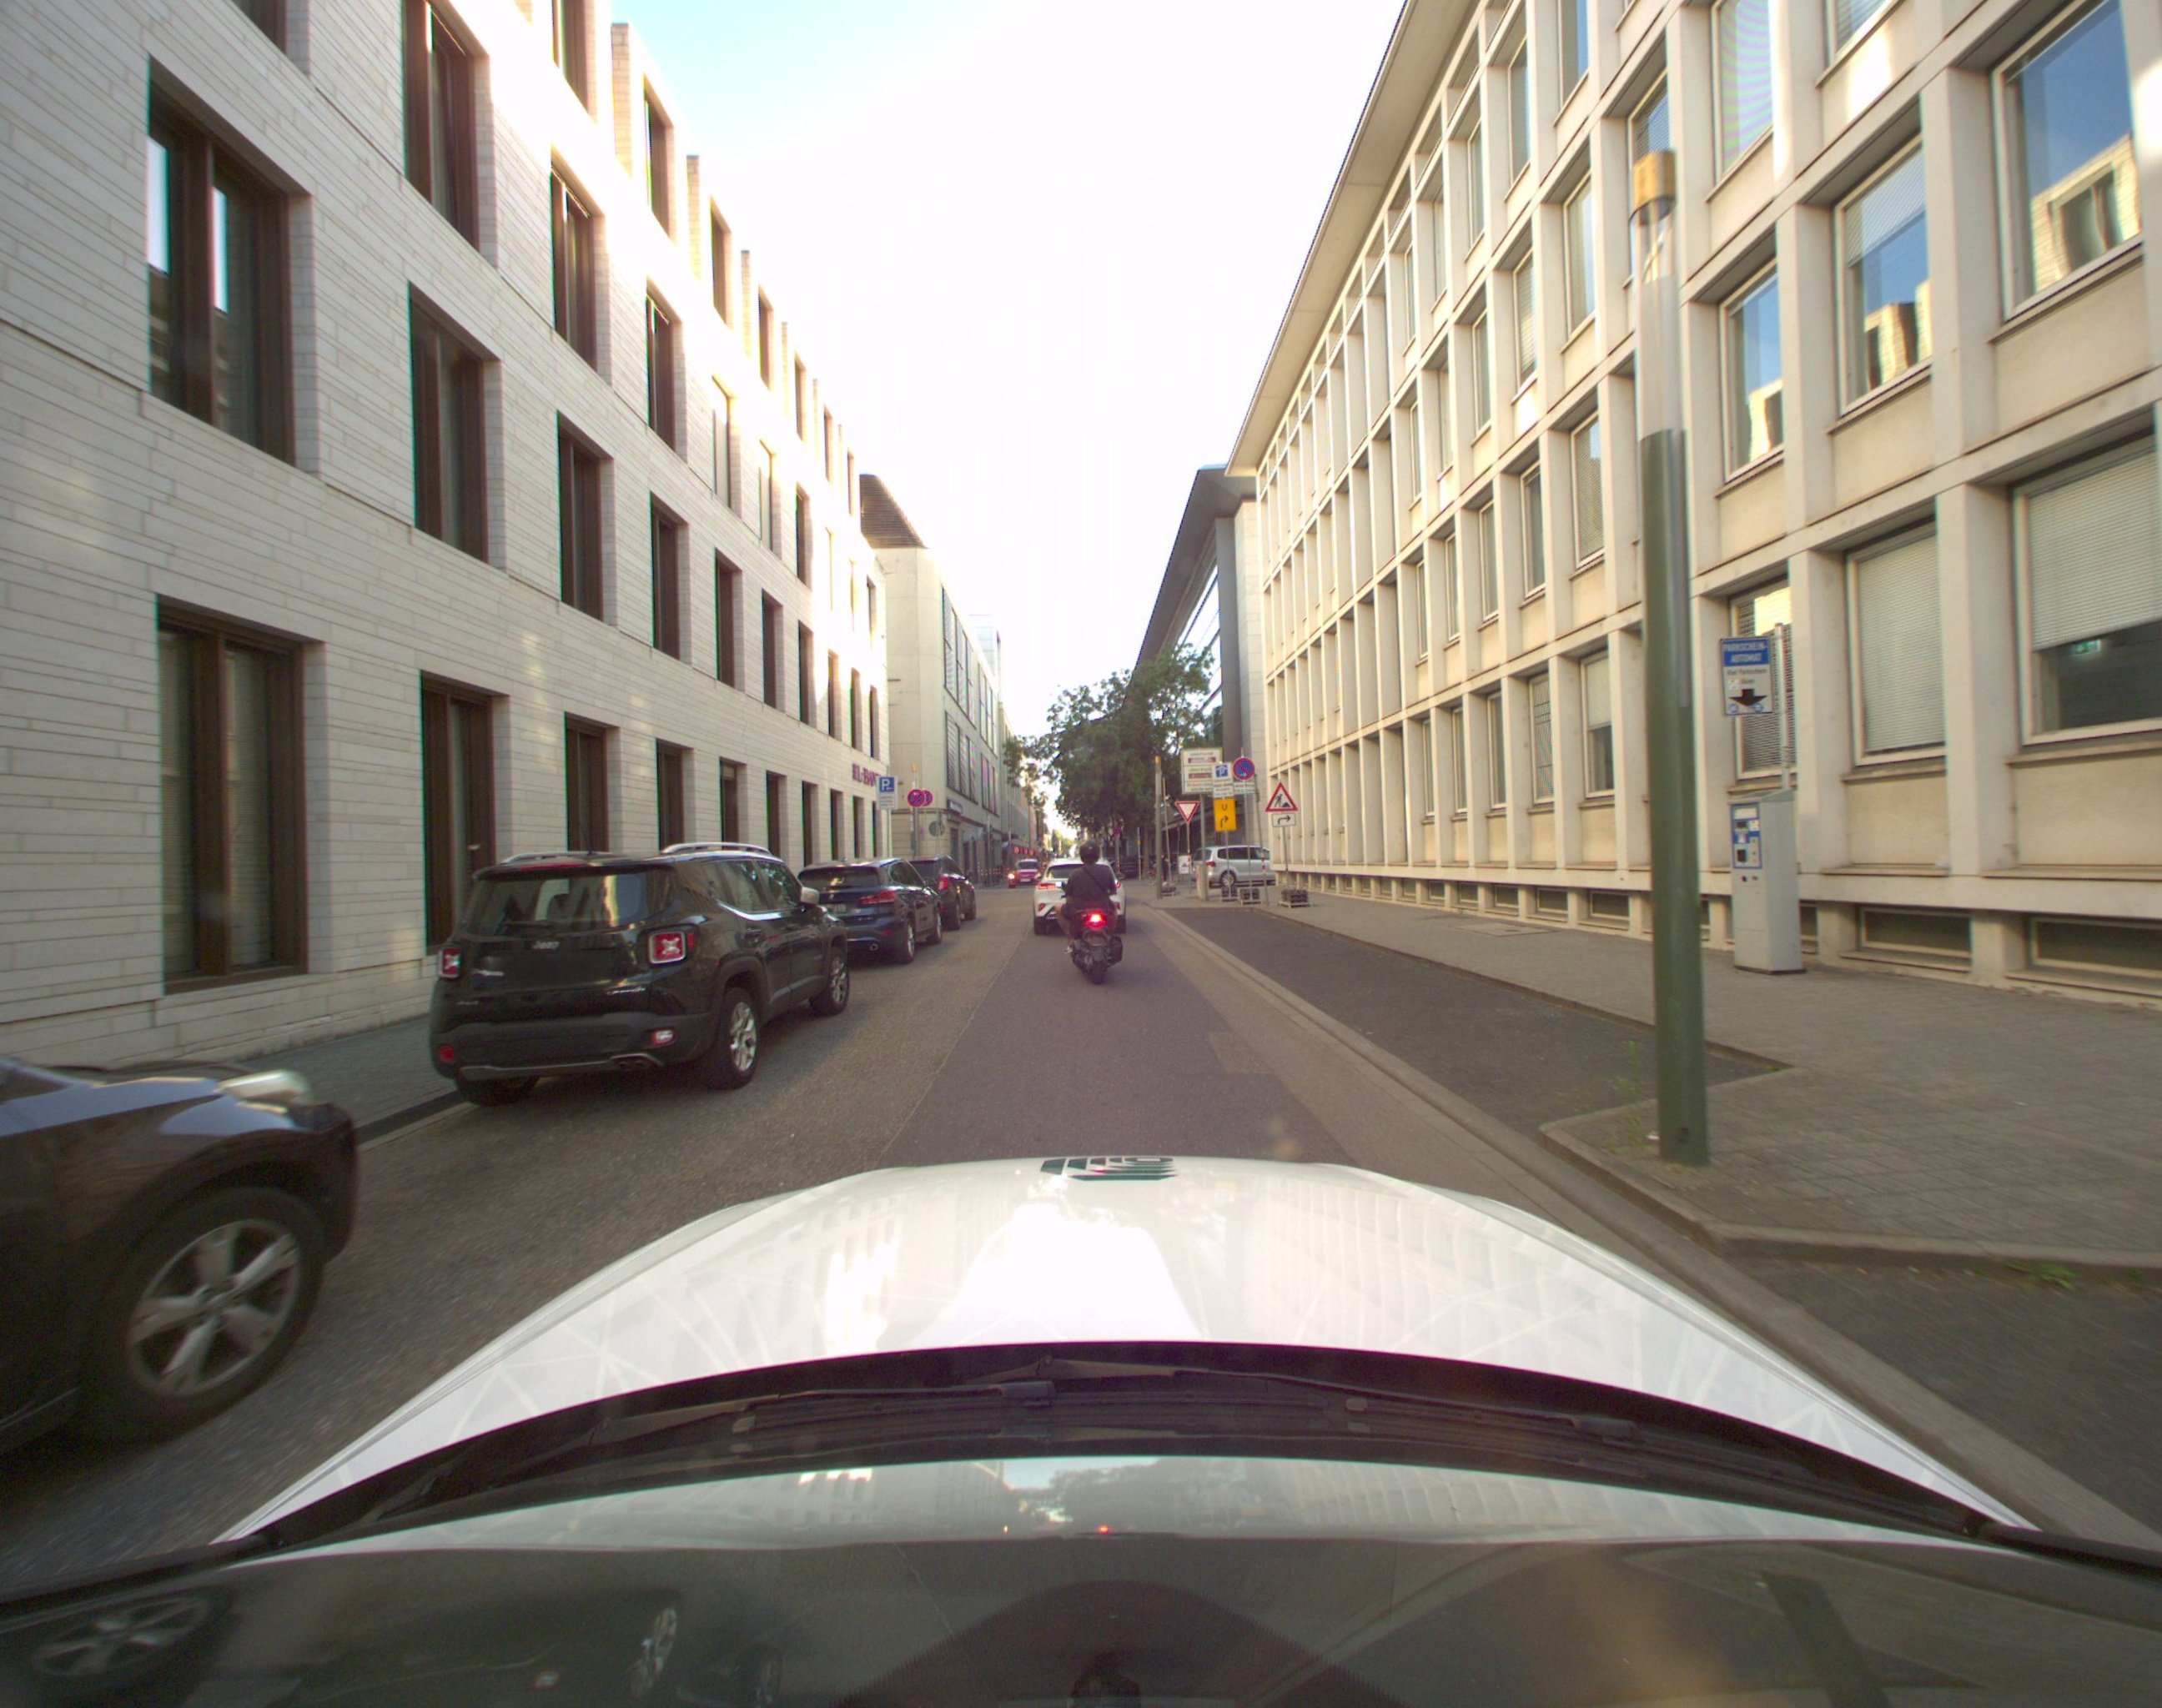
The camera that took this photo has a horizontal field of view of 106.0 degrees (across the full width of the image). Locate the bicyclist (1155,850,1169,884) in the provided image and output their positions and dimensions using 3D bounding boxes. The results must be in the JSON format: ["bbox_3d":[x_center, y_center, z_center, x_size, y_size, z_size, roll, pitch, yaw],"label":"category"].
[{"bbox_3d":[3.884,0.622,39.141,0.626,1.625,0.499,-1,-1,8],"label":"bicyclist"}]

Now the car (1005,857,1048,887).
[{"bbox_3d":[-2.827,0.999,43.219,1.816,1.465,4.264,-2,-2,2],"label":"car"}]

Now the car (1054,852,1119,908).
[{"bbox_3d":[0.112,0.760,26.343,1.817,1.541,4.362,-4,0,-1],"label":"car"}]

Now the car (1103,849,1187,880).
[{"bbox_3d":[4.022,0.668,51.683,4.994,1.451,1.998,-5,-1,-3],"label":"car"}]

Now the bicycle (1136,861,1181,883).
[{"bbox_3d":[3.717,0.866,39.158,2.090,0.995,0.520,-1,-1,8],"label":"bicycle"}]

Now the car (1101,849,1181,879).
[{"bbox_3d":[3.907,0.685,53.991,4.994,1.499,1.998,-5,-1,-3],"label":"car"}]

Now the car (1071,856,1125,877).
[{"bbox_3d":[1.585,1.191,78.398,4.994,1.499,1.998,-5,-1,-3],"label":"car"}]

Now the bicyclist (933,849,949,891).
[{"bbox_3d":[-5.757,0.659,33.487,0.551,1.732,0.498,0,-1,-18],"label":"bicyclist"}]

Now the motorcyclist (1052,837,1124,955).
[{"bbox_3d":[0.091,0.521,10.208,0.864,1.427,0.455,-1,-1,0],"label":"motorcyclist"}]

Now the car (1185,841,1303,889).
[{"bbox_3d":[6.736,0.403,33.674,4.496,1.645,1.816,-4,3,-21],"label":"car"}]

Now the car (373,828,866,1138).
[{"bbox_3d":[-3.263,0.754,6.848,1.817,1.714,4.015,-4,0,-1],"label":"car"}]

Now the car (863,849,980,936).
[{"bbox_3d":[-3.566,0.797,18.983,1.817,1.677,4.262,-4,0,-1],"label":"car"}]

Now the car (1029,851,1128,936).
[{"bbox_3d":[-0.091,0.733,17.499,1.817,1.541,4.261,-2,0,-1],"label":"car"}]

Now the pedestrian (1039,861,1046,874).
[{"bbox_3d":[-4.659,1.625,98.628,0.729,1.574,0.636,-1,-1,0],"label":"pedestrian"}]

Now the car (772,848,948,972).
[{"bbox_3d":[-3.377,0.761,13.292,1.735,1.594,4.151,-4,0,-1],"label":"car"}]

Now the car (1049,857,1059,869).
[{"bbox_3d":[-5.525,1.869,163.959,1.989,2.329,5.015,0,0,-3],"label":"car"}]

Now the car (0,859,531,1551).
[{"bbox_3d":[-3.348,0.821,1.491,1.817,1.541,4.261,-2,0,-1],"label":"car"}]

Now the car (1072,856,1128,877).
[{"bbox_3d":[1.773,1.193,75.953,4.994,1.499,1.998,-5,-1,-3],"label":"car"}]

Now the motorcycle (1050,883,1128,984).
[{"bbox_3d":[0.105,0.938,10.195,0.869,1.109,1.839,-1,-1,0],"label":"motorcycle"}]
